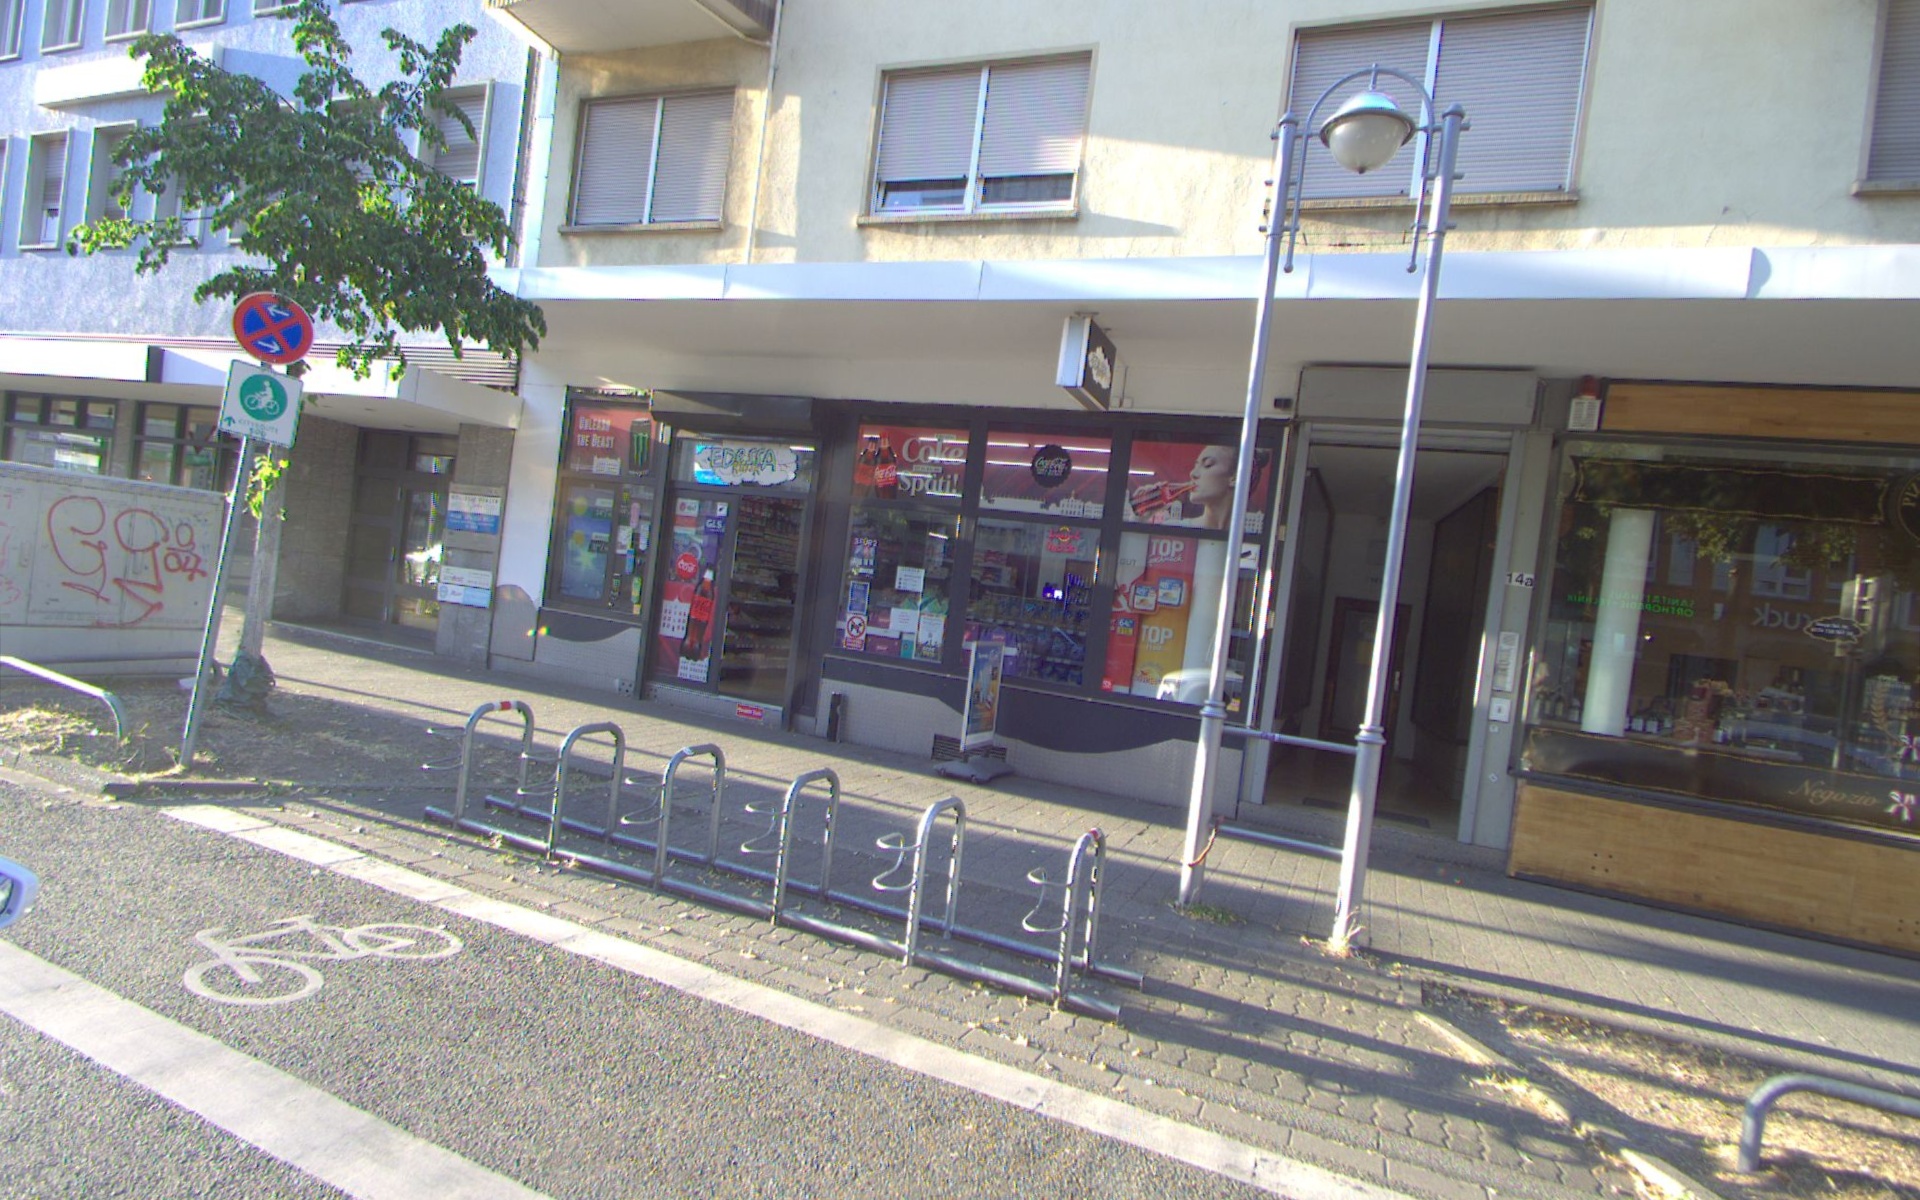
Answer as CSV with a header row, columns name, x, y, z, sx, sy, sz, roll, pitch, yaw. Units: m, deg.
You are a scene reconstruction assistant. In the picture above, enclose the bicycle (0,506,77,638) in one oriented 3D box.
name,x,y,z,sx,sy,sz,roll,pitch,yaw
bicycle,-9.127,-0.288,9.105,0.484,1.208,1.663,8,0,11
